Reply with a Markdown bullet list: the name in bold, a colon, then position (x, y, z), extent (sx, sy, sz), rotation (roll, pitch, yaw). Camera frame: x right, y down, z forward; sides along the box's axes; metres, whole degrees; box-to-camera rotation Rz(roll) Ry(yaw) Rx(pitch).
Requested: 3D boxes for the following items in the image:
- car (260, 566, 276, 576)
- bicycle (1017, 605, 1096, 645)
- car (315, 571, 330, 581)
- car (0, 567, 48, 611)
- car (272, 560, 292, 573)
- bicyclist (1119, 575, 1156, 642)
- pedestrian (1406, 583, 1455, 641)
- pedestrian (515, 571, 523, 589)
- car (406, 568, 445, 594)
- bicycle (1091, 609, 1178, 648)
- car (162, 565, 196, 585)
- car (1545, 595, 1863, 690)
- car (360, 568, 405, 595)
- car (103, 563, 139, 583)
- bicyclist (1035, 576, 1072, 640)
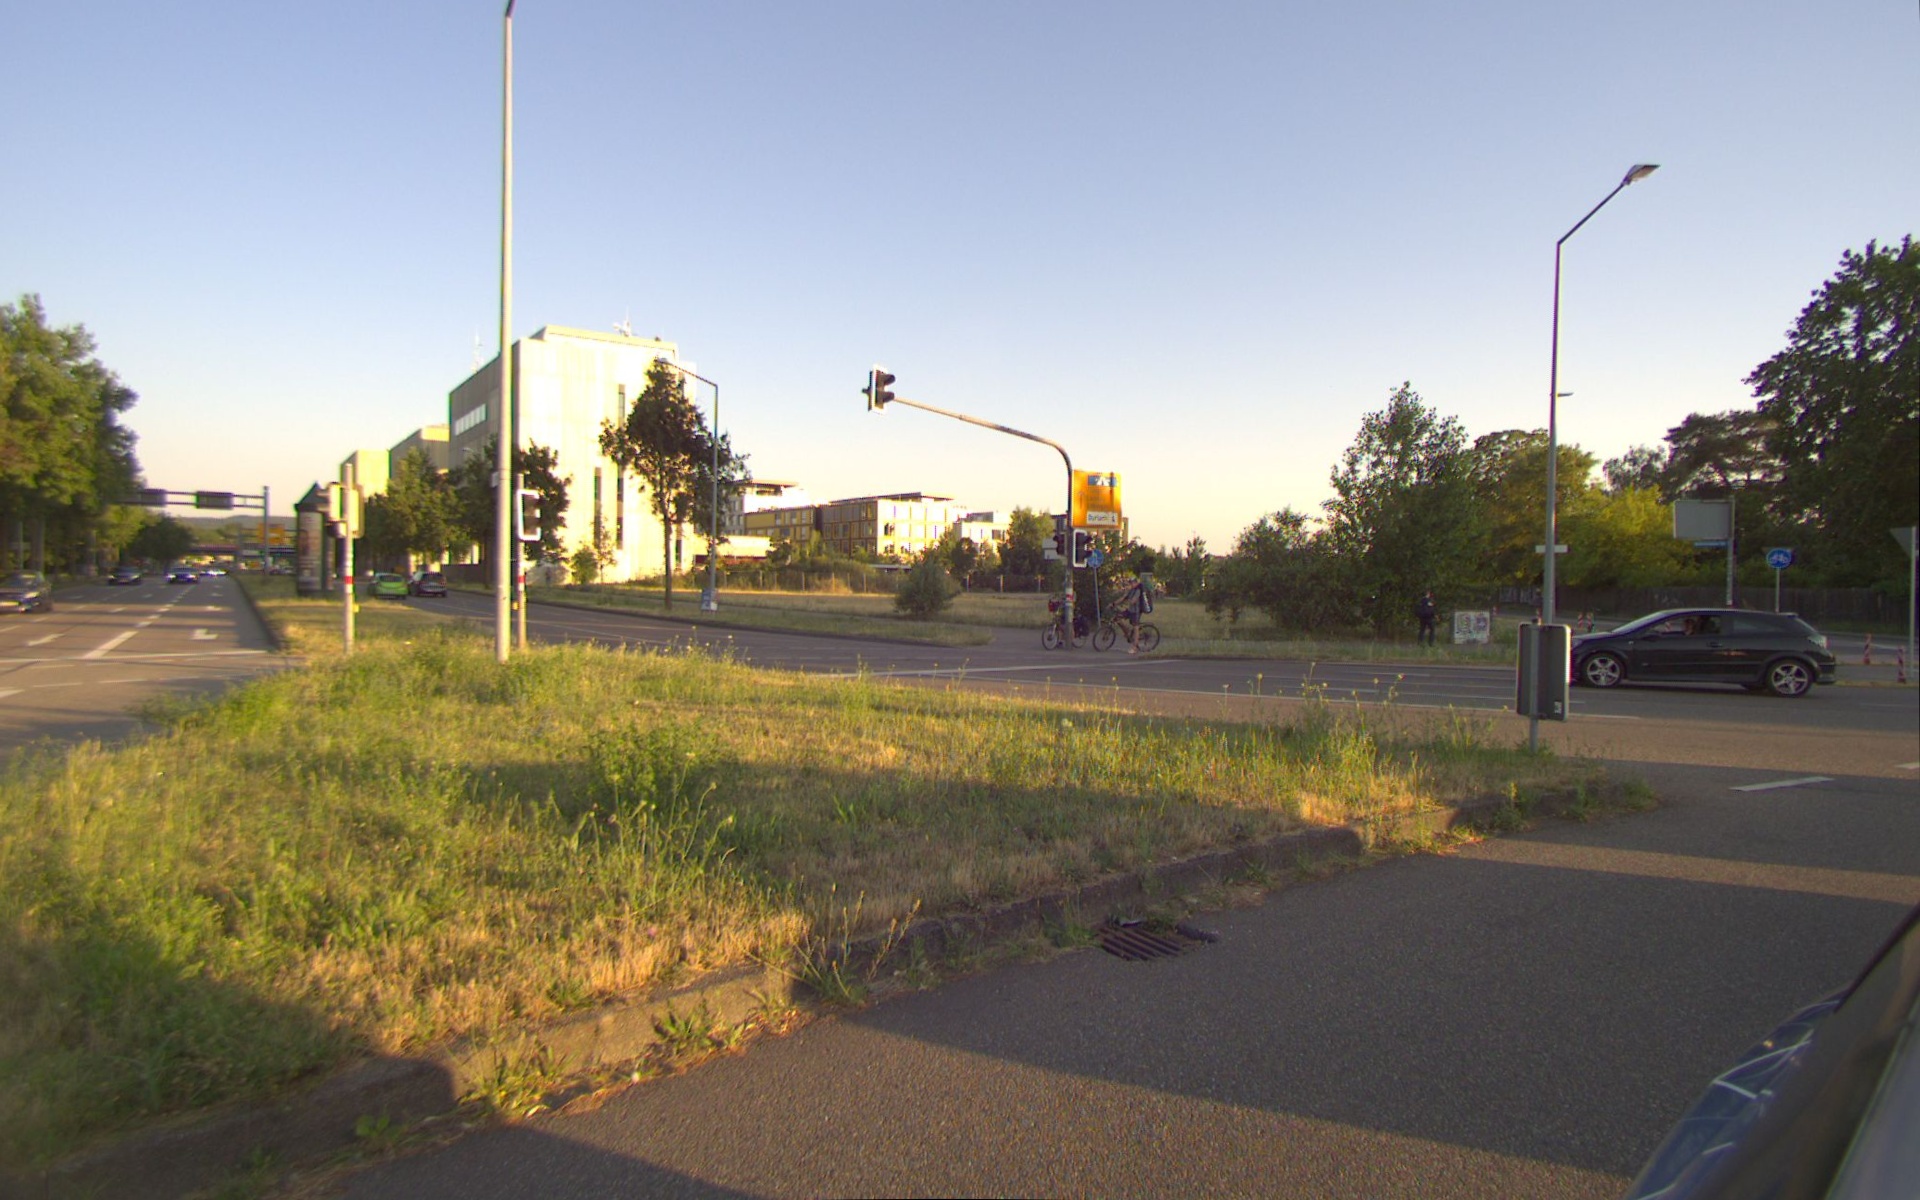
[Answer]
- **car**: position (-112.912, -4.691, 165.041), extent (1.963, 1.649, 3.998), rotation (0, 1, -37)
- **bicycle**: position (2.605, 0.662, 27.346), extent (2.065, 0.975, 0.711), rotation (-2, 2, -27)
- **car**: position (-98.266, -3.744, 155.973), extent (1.961, 1.445, 4.201), rotation (0, 1, -32)
- **car**: position (-36.145, -0.454, 38.580), extent (1.882, 1.603, 4.176), rotation (0, 1, -40)
- **car**: position (-91.063, -4.506, 135.893), extent (1.963, 1.649, 3.998), rotation (0, 1, -37)
- **bicyclist**: position (4.605, 0.212, 26.263), extent (0.674, 1.711, 0.727), rotation (1, 1, -13)
- **pedestrian**: position (13.433, 0.327, 28.913), extent (0.974, 1.610, 0.925), rotation (1, 1, 5)
- **pedestrian**: position (-37.602, -1.716, 86.280), extent (0.492, 1.531, 0.530), rotation (0, 1, -35)
- **car**: position (-34.066, -1.204, 64.456), extent (1.701, 1.597, 4.331), rotation (0, 1, -34)
- **bicycle**: position (4.533, 0.735, 26.242), extent (2.100, 0.975, 0.711), rotation (1, 1, -15)
- **car**: position (-61.963, -2.009, 80.370), extent (1.963, 1.524, 4.771), rotation (0, 1, -36)
- **car**: position (12.587, 0.662, 17.462), extent (4.079, 1.396, 1.738), rotation (1, 1, 23)
- **car**: position (-32.889, -1.066, 57.597), extent (1.659, 1.437, 3.997), rotation (-2, 2, -38)
- **car**: position (-64.316, -2.077, 77.621), extent (1.963, 1.524, 4.618), rotation (0, 1, -38)
- **bicyclist**: position (2.520, 0.211, 27.328), extent (0.675, 1.711, 0.726), rotation (0, 1, -29)
